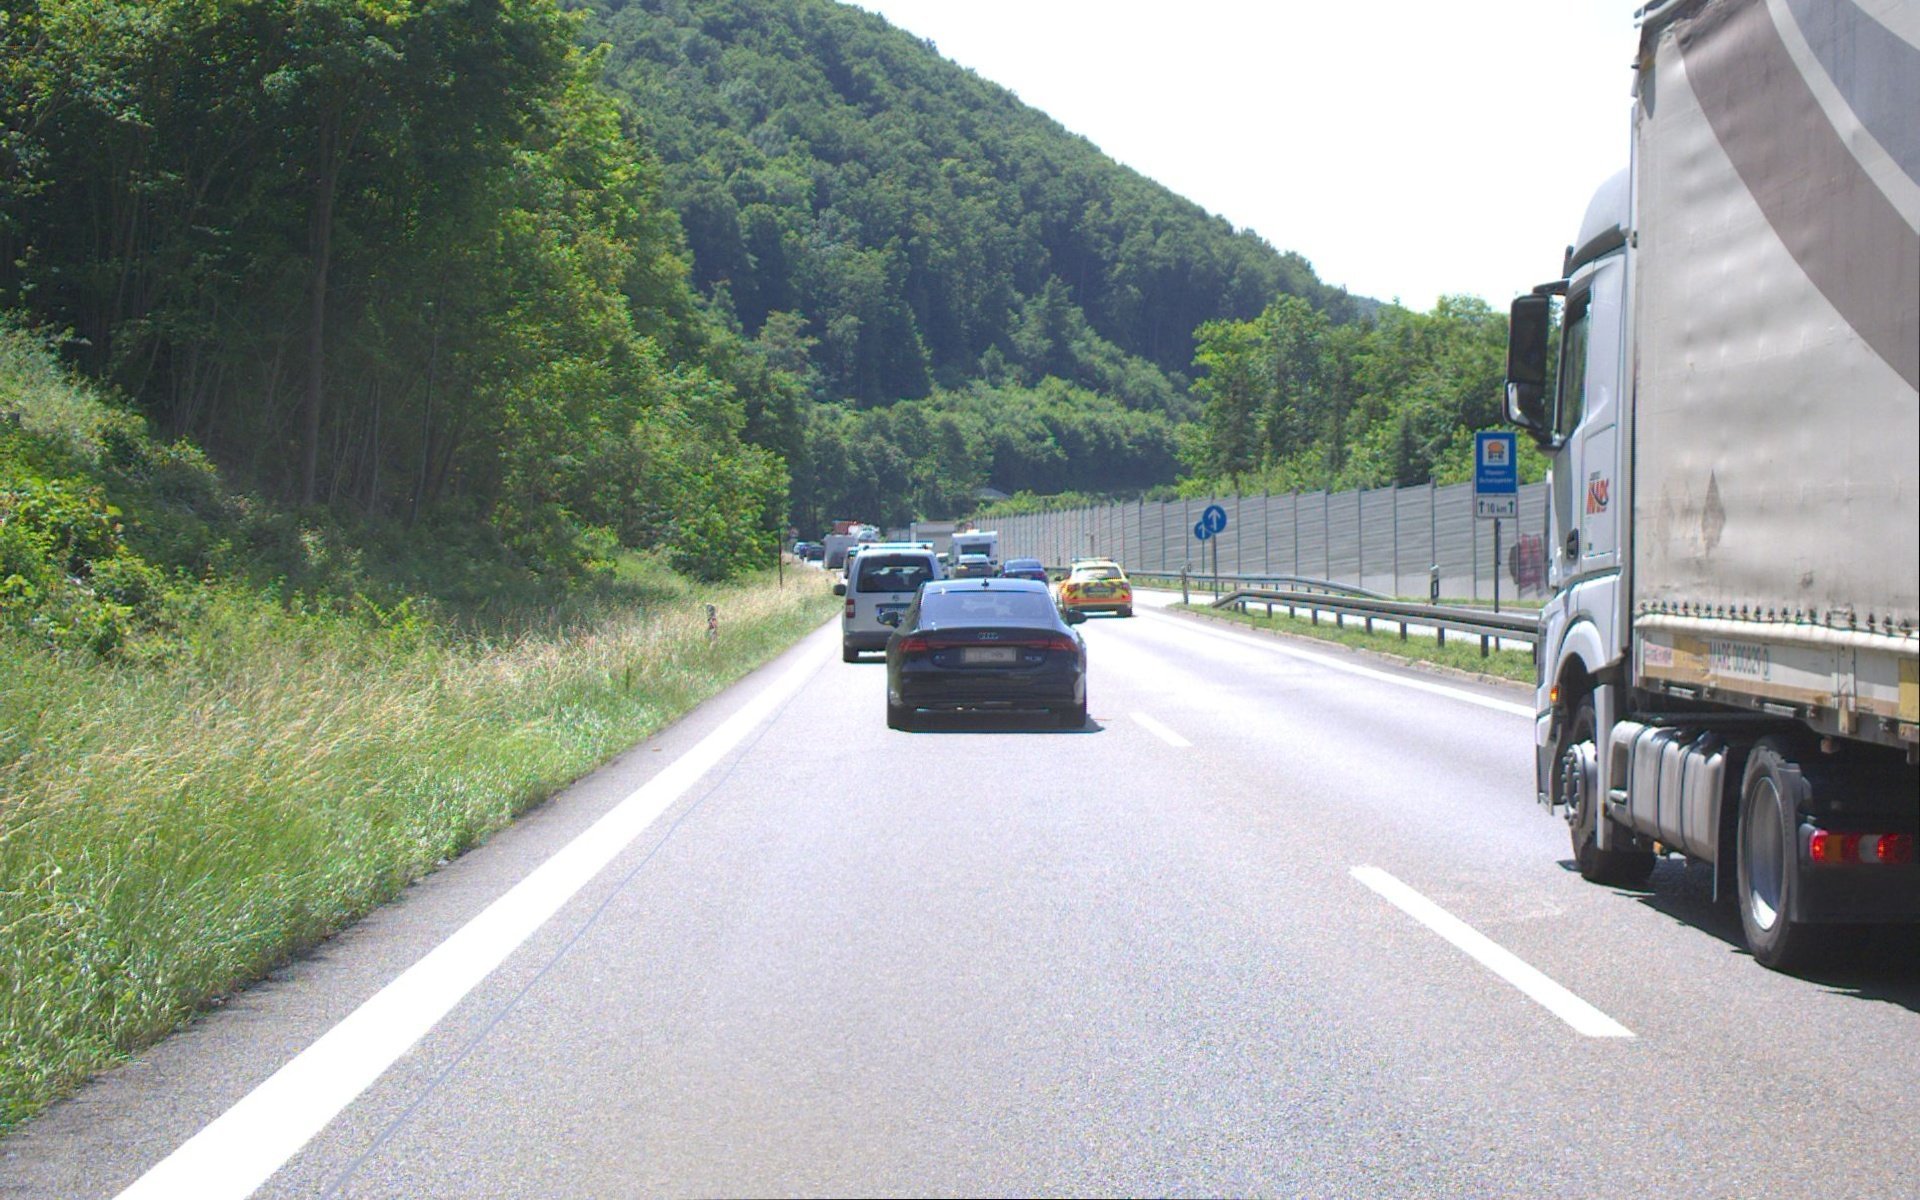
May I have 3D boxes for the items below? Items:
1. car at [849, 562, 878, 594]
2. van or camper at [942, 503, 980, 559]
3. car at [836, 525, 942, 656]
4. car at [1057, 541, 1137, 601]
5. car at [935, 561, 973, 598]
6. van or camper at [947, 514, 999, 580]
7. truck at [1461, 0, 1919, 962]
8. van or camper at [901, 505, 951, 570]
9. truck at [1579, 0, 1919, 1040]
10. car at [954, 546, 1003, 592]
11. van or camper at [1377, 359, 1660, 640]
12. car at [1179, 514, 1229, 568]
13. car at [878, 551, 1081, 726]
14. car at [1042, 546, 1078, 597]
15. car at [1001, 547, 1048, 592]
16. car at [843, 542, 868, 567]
[{"bbox_3d":[-5.480,-1.242,195.439,1.489,1.659,3.590,3,0,-1],"label":"car"},{"bbox_3d":[0.043,-4.881,244.710,2.448,3.676,6.588,3,0,-1],"label":"van or camper"},{"bbox_3d":[-1.149,-0.161,55.700,1.521,1.961,3.514,4,0,-1],"label":"car"},{"bbox_3d":[3.597,-0.776,90.665,1.879,1.493,4.000,2,1,0],"label":"car"},{"bbox_3d":[-0.282,-0.888,149.142,1.530,1.520,3.597,3,0,-1],"label":"car"},{"bbox_3d":[0.641,-2.669,174.746,2.429,3.144,5.203,3,0,-1],"label":"van or camper"},{"bbox_3d":[4.197,-0.660,15.621,2.719,4.054,5.754,2,0,-1],"label":"truck"},{"bbox_3d":[-2.230,-4.007,221.488,2.794,3.894,6.167,3,0,-3],"label":"van or camper"},{"bbox_3d":[4.379,-0.645,8.509,2.726,4.054,13.742,2,0,-1],"label":"truck"},{"bbox_3d":[0.859,-1.430,160.390,2.086,2.007,4.000,3,0,-1],"label":"car"},{"bbox_3d":[8.276,-1.414,51.699,2.794,3.828,6.167,3,0,-3],"label":"van or camper"},{"bbox_3d":[9.294,-2.250,131.221,1.576,2.007,3.428,1,1,-1],"label":"car"},{"bbox_3d":[0.137,0.327,33.057,1.812,1.509,3.515,1,1,-1],"label":"car"},{"bbox_3d":[4.931,-1.379,169.503,1.530,2.394,3.597,3,0,-1],"label":"car"},{"bbox_3d":[2.318,-1.084,123.904,1.530,1.520,3.597,3,0,-1],"label":"car"},{"bbox_3d":[-6.672,-2.896,219.530,1.489,1.491,3.590,3,0,-1],"label":"car"}]
